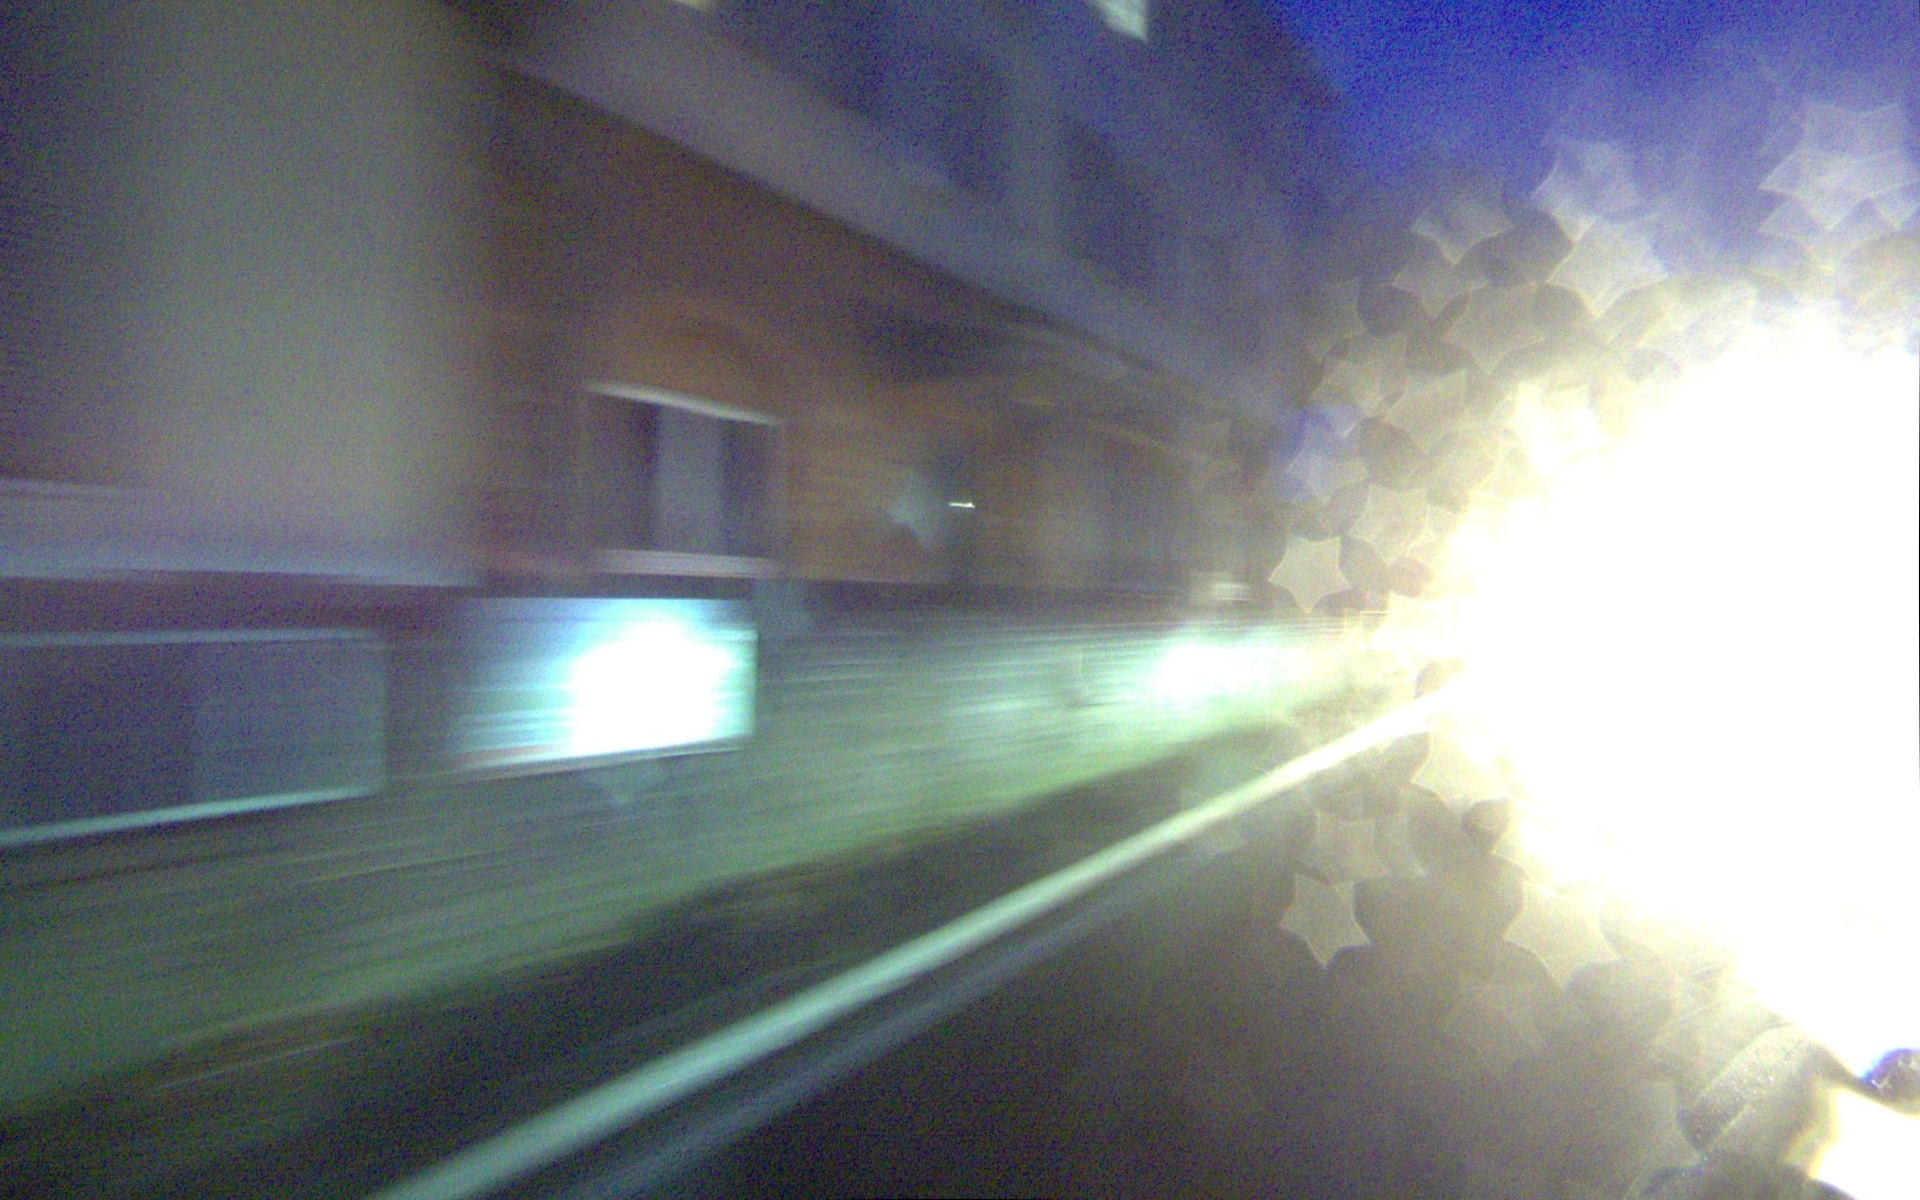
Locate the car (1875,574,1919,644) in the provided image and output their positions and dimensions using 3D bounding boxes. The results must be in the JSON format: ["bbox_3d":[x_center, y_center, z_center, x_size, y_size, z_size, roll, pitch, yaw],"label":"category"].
[{"bbox_3d":[25.325,0.227,26.139,2.053,1.698,4.084,2,2,37],"label":"car"}]

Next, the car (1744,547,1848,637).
[{"bbox_3d":[24.889,-0.303,30.297,2.163,2.472,4.796,1,2,37],"label":"car"}]

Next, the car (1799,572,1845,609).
[{"bbox_3d":[48.640,-0.571,57.180,1.768,1.971,4.196,2,2,38],"label":"car"}]

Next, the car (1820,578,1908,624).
[{"bbox_3d":[33.490,-0.022,37.622,1.904,1.529,4.187,3,3,35],"label":"car"}]

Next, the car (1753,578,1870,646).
[{"bbox_3d":[21.345,0.252,25.522,1.969,1.536,4.150,1,1,37],"label":"car"}]
